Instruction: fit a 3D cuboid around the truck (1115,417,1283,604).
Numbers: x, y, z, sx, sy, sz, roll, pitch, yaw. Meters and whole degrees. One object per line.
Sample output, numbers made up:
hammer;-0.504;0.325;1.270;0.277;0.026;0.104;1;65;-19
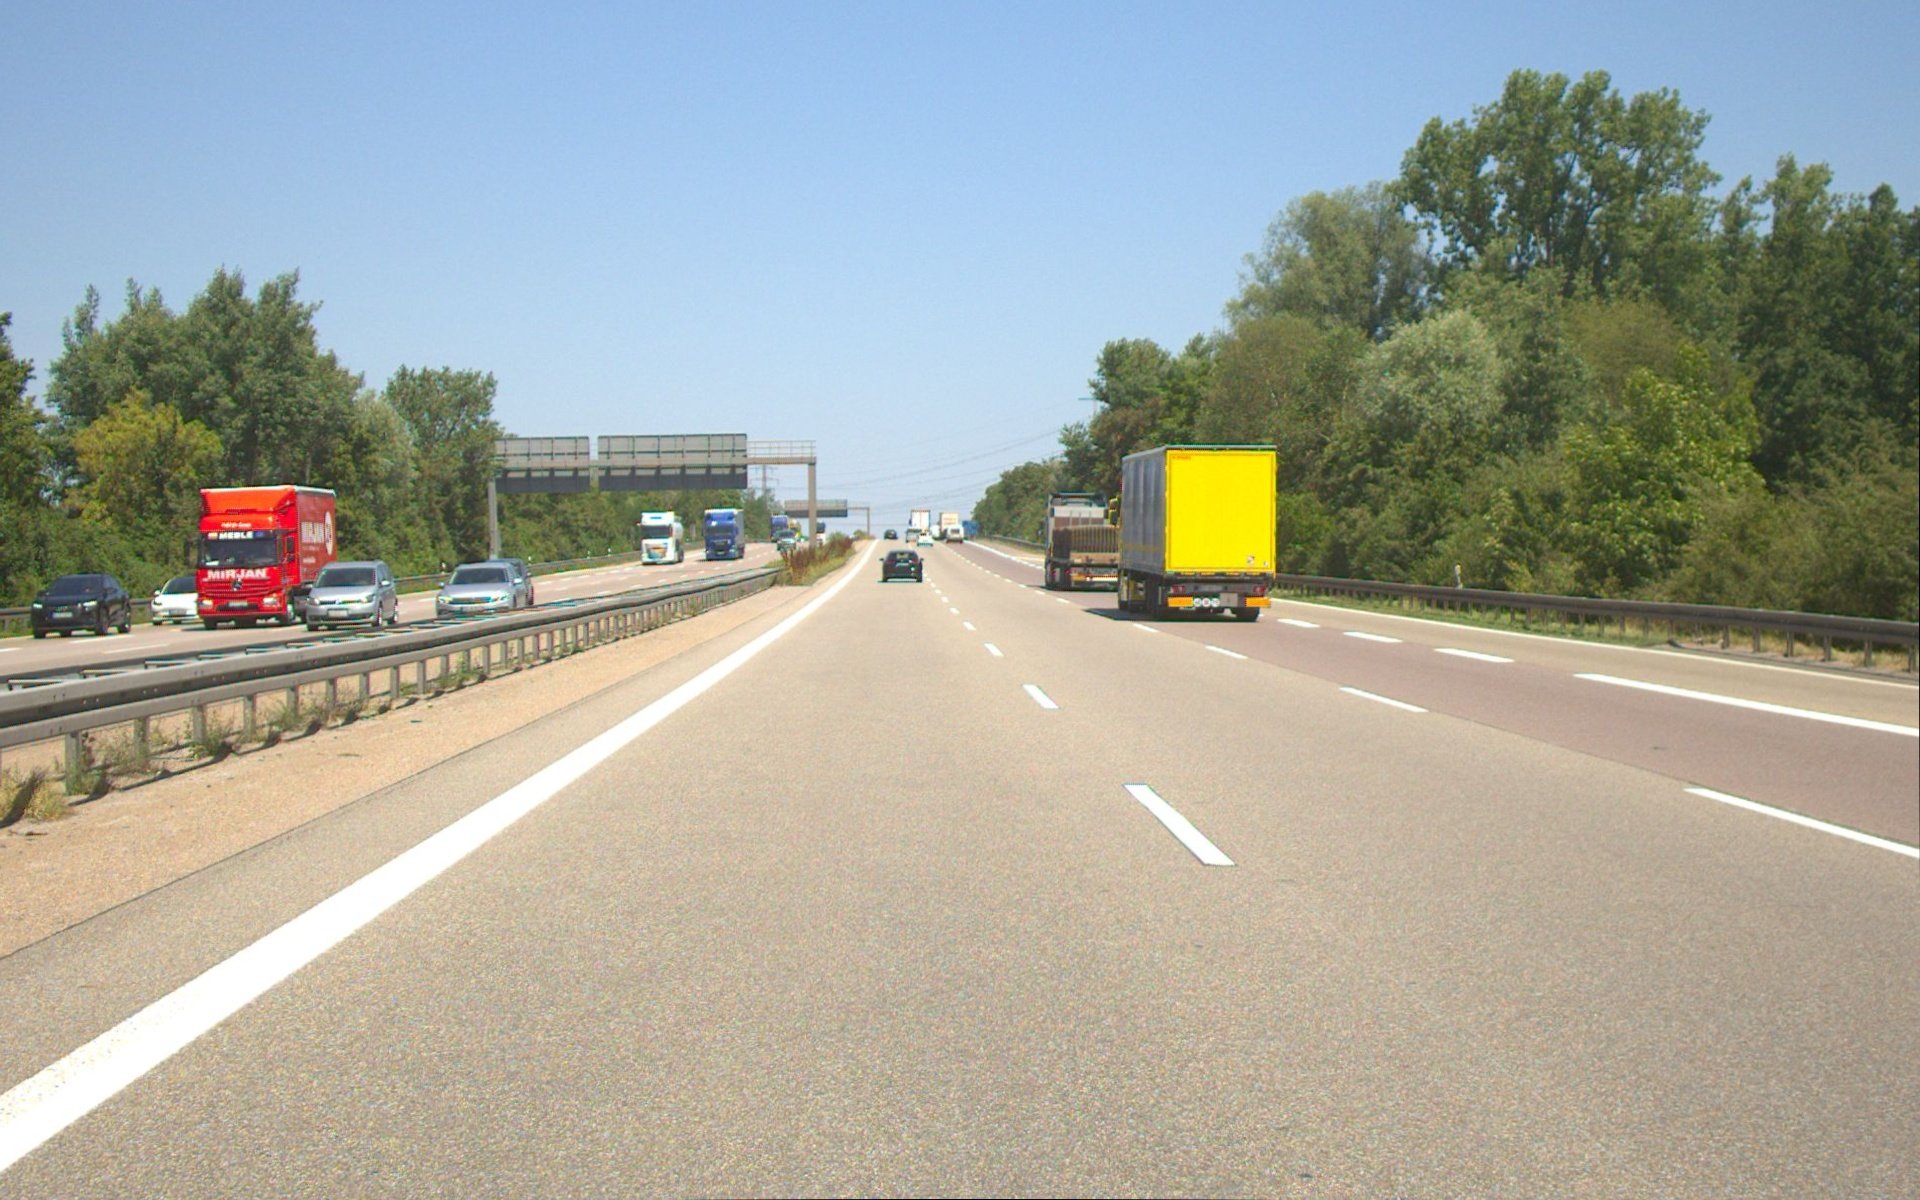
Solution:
truck;5.842;-2.148;86.918;2.845;4.243;16.792;-1;1;-1

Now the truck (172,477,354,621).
truck;-18.899;-1.396;93.855;3.064;3.714;9.806;0;1;-1

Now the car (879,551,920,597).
car;-2.697;-1.173;153.688;1.791;2.007;3.888;1;1;-1

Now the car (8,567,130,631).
car;-23.376;-0.045;90.333;1.993;1.573;4.267;1;1;1

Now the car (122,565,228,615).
car;-23.174;-0.315;101.611;1.993;1.407;4.973;-1;1;0

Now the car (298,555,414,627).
car;-14.700;-0.240;83.861;1.993;1.620;4.544;-2;1;0

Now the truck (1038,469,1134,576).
truck;4.878;-2.992;136.554;2.969;3.943;16.614;1;1;-1

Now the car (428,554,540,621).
car;-11.438;-0.326;82.949;1.993;1.547;5.224;0;1;0
